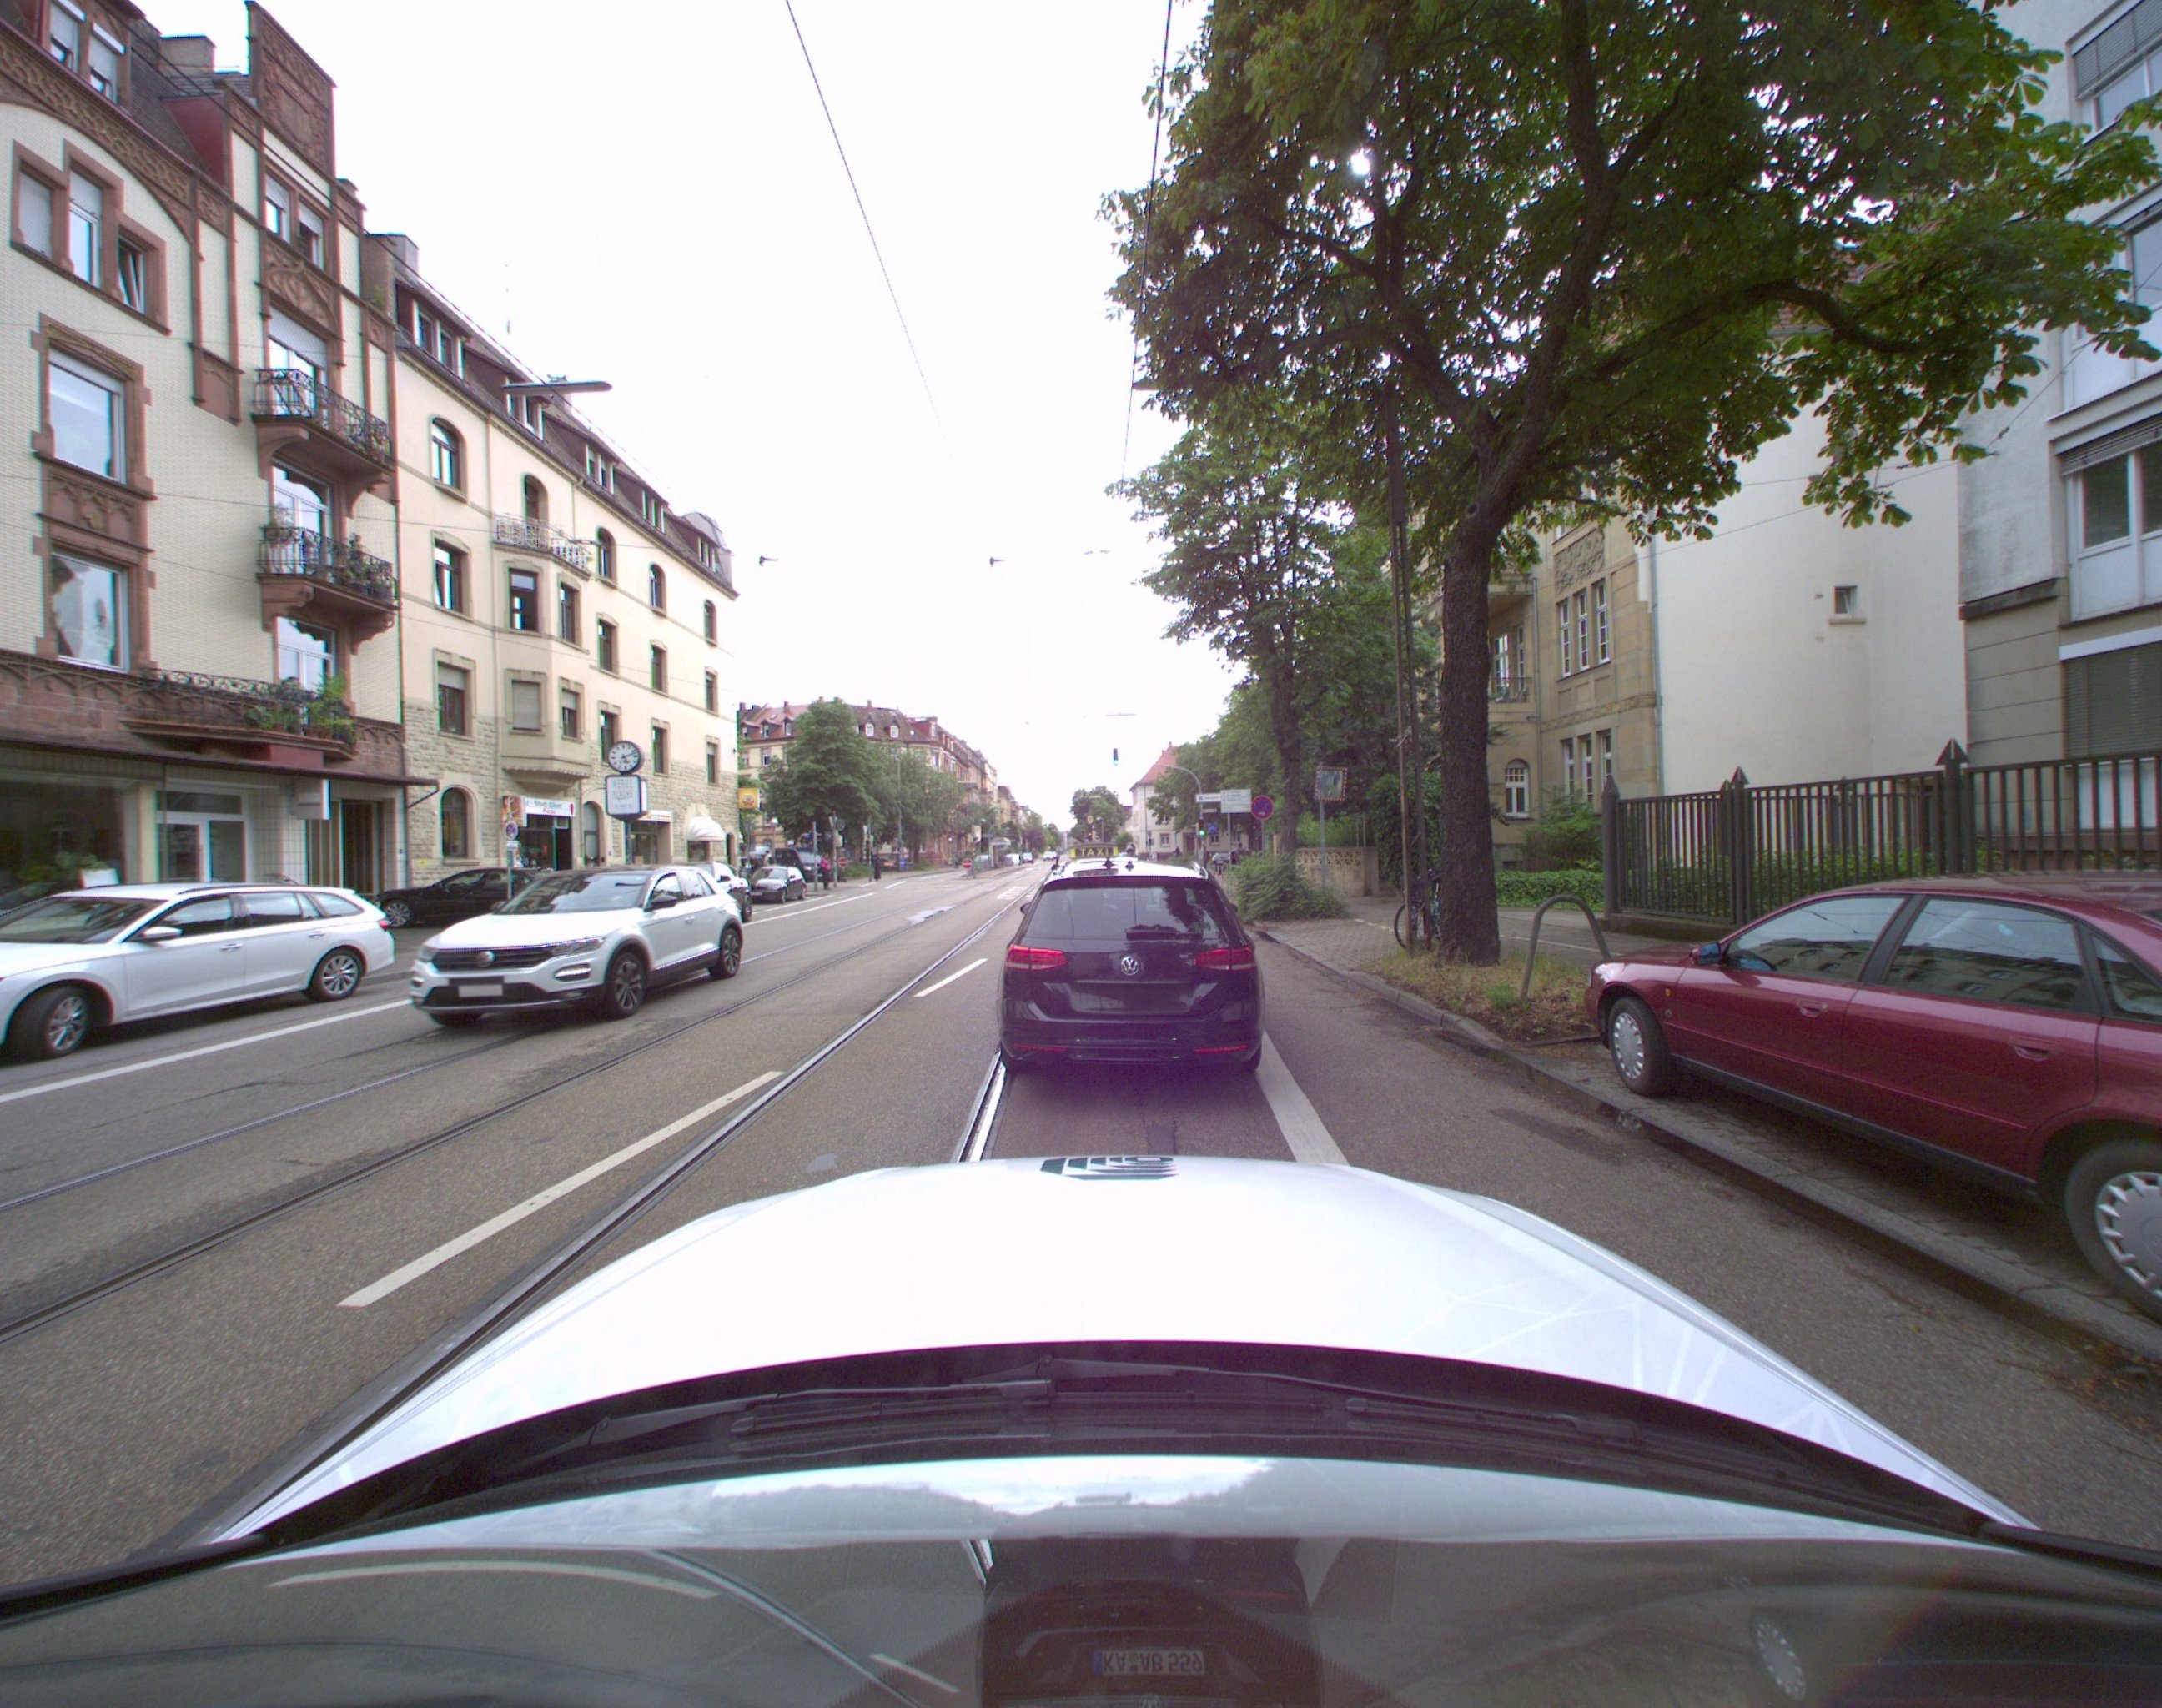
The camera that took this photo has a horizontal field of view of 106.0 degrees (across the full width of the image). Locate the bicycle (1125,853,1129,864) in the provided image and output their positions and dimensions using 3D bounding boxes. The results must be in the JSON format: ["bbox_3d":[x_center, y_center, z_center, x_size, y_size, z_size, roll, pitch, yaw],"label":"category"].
[{"bbox_3d":[5.628,0.535,99.250,0.295,1.223,1.433,-2,0,7],"label":"bicycle"}]

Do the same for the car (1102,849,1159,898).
[{"bbox_3d":[1.664,0.637,28.310,1.718,1.546,4.000,-1,0,0],"label":"car"}]

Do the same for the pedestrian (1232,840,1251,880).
[{"bbox_3d":[7.393,0.259,37.552,0.630,1.815,0.725,-2,0,-3],"label":"pedestrian"}]

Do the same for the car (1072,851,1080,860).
[{"bbox_3d":[-1.238,0.340,198.292,2.026,2.014,3.999,-1,0,0],"label":"car"}]

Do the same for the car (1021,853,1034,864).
[{"bbox_3d":[-7.716,0.609,117.817,1.716,1.464,3.862,-2,0,0],"label":"car"}]

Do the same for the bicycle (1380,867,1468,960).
[{"bbox_3d":[4.850,0.791,11.464,0.428,1.198,1.915,-2,-1,45],"label":"bicycle"}]

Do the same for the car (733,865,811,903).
[{"bbox_3d":[-12.286,1.143,32.624,1.644,1.361,4.126,1,0,-2],"label":"car"}]

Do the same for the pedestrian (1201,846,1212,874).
[{"bbox_3d":[8.434,0.381,54.656,0.512,1.831,0.418,-5,0,1],"label":"pedestrian"}]

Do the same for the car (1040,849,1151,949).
[{"bbox_3d":[0.233,0.702,14.846,1.718,1.546,4.000,-1,0,0],"label":"car"}]

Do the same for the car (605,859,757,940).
[{"bbox_3d":[-9.672,1.002,20.192,1.882,1.611,4.873,-4,0,-9],"label":"car"}]

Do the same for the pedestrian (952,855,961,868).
[{"bbox_3d":[-14.071,0.846,92.027,0.582,1.520,0.653,-2,0,35],"label":"pedestrian"}]

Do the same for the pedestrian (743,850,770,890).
[{"bbox_3d":[-16.729,0.829,41.953,0.971,2.013,0.835,-2,0,-1],"label":"pedestrian"}]

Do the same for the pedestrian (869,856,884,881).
[{"bbox_3d":[-13.643,0.981,54.372,0.833,1.663,0.591,-2,0,1],"label":"pedestrian"}]

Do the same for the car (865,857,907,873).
[{"bbox_3d":[-21.715,1.210,90.671,4.021,1.596,1.977,-2,0,-40],"label":"car"}]

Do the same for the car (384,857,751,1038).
[{"bbox_3d":[-5.361,0.836,9.220,1.694,1.496,3.927,-3,0,-2],"label":"car"}]

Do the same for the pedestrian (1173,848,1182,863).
[{"bbox_3d":[9.788,0.143,82.398,0.612,1.553,0.576,-1,0,-39],"label":"pedestrian"}]

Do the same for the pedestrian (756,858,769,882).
[{"bbox_3d":[-23.027,1.182,58.950,0.703,1.715,0.546,-2,0,-40],"label":"pedestrian"}]

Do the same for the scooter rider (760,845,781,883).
[{"bbox_3d":[-16.598,0.534,43.539,0.752,2.013,0.644,-2,0,2],"label":"scooter rider"}]

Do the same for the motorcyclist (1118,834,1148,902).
[{"bbox_3d":[1.320,0.358,20.892,0.700,1.692,0.805,-2,0,3],"label":"motorcyclist"}]

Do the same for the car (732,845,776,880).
[{"bbox_3d":[-25.504,0.647,63.385,2.194,2.527,5.326,-2,0,-32],"label":"car"}]

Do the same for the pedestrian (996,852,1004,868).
[{"bbox_3d":[-7.751,0.569,78.095,0.711,1.520,0.590,-2,0,1],"label":"pedestrian"}]

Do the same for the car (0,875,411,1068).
[{"bbox_3d":[-9.882,1.060,8.629,1.742,1.484,4.607,-2,0,-1],"label":"car"}]

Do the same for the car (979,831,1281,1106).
[{"bbox_3d":[0.292,0.651,6.701,1.718,1.546,4.000,-1,0,0],"label":"car"}]

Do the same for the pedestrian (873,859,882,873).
[{"bbox_3d":[-17.648,1.033,70.648,0.591,1.168,0.837,-2,0,-29],"label":"pedestrian"}]

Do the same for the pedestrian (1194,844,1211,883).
[{"bbox_3d":[5.882,0.449,39.472,0.583,1.831,0.604,-5,0,1],"label":"pedestrian"}]

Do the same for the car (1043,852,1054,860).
[{"bbox_3d":[-6.126,0.367,153.173,1.788,1.596,4.003,-2,0,3],"label":"car"}]

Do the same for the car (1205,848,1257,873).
[{"bbox_3d":[9.497,0.393,51.314,1.873,1.408,4.026,-2,0,31],"label":"car"}]

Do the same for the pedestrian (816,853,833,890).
[{"bbox_3d":[-12.984,0.882,41.239,0.621,1.842,0.609,-2,0,-3],"label":"pedestrian"}]

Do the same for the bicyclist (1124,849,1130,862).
[{"bbox_3d":[5.615,0.223,99.316,0.648,1.568,0.697,-2,0,7],"label":"bicyclist"}]

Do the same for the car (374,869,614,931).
[{"bbox_3d":[-14.287,1.105,20.056,4.418,1.370,1.877,1,0,-5],"label":"car"}]

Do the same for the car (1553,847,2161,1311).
[{"bbox_3d":[4.232,0.717,3.768,1.597,1.399,4.227,-4,0,0],"label":"car"}]

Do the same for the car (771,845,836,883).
[{"bbox_3d":[-18.877,0.715,55.204,2.198,2.417,5.315,-2,0,-42],"label":"car"}]

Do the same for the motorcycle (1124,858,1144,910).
[{"bbox_3d":[1.355,0.737,20.864,0.444,1.235,1.908,-2,0,3],"label":"motorcycle"}]
